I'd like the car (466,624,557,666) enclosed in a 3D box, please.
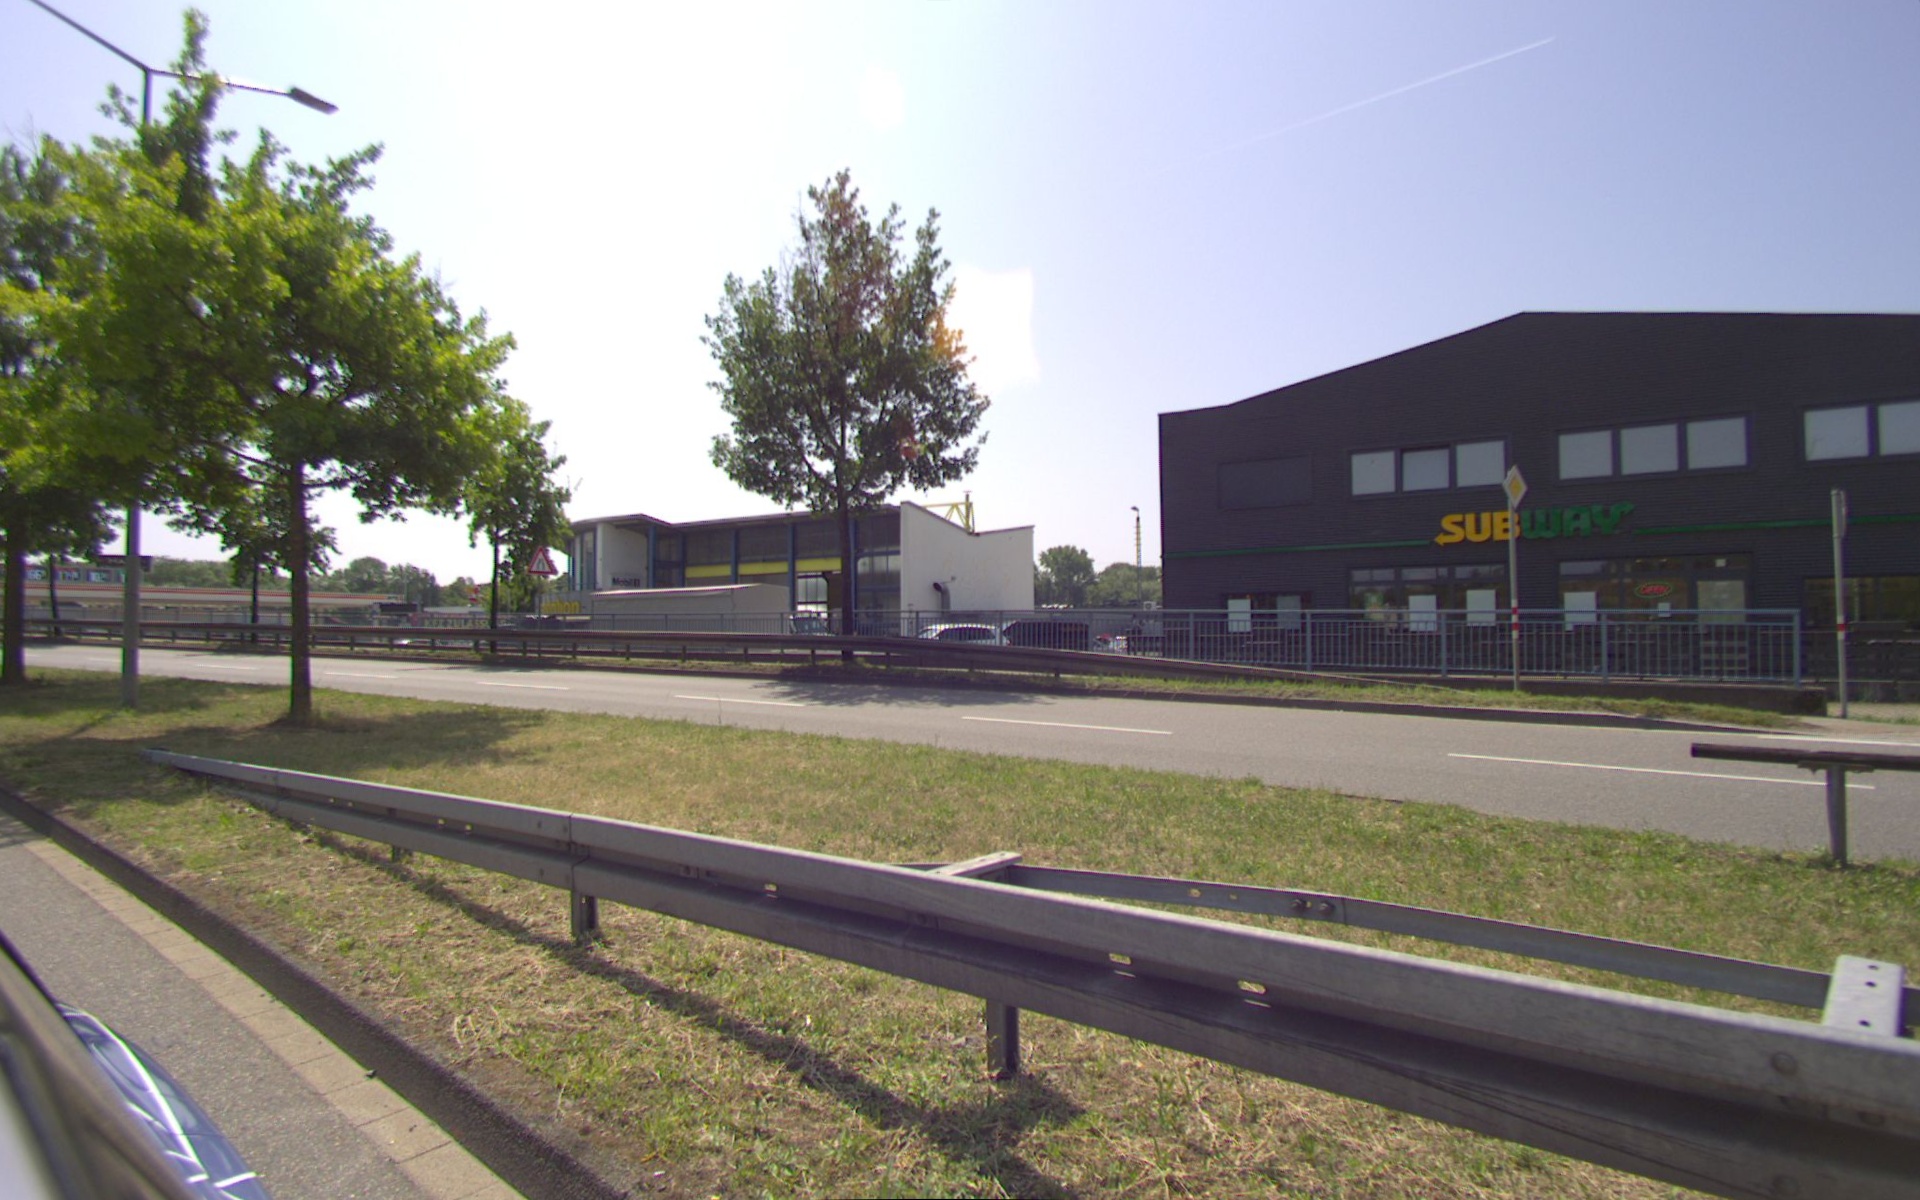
[{"bbox_3d":[-23.294,2.321,52.709,1.991,2.029,3.961,0,-1,28],"label":"car"}]

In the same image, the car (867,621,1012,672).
[{"bbox_3d":[-0.601,1.318,29.848,3.931,1.390,1.665,0,-1,-27],"label":"car"}]

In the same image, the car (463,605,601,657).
[{"bbox_3d":[-14.228,1.027,33.576,4.625,1.581,1.883,0,-3,32],"label":"car"}]

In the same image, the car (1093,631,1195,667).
[{"bbox_3d":[7.725,2.041,42.538,3.931,1.390,1.665,0,-1,-20],"label":"car"}]
